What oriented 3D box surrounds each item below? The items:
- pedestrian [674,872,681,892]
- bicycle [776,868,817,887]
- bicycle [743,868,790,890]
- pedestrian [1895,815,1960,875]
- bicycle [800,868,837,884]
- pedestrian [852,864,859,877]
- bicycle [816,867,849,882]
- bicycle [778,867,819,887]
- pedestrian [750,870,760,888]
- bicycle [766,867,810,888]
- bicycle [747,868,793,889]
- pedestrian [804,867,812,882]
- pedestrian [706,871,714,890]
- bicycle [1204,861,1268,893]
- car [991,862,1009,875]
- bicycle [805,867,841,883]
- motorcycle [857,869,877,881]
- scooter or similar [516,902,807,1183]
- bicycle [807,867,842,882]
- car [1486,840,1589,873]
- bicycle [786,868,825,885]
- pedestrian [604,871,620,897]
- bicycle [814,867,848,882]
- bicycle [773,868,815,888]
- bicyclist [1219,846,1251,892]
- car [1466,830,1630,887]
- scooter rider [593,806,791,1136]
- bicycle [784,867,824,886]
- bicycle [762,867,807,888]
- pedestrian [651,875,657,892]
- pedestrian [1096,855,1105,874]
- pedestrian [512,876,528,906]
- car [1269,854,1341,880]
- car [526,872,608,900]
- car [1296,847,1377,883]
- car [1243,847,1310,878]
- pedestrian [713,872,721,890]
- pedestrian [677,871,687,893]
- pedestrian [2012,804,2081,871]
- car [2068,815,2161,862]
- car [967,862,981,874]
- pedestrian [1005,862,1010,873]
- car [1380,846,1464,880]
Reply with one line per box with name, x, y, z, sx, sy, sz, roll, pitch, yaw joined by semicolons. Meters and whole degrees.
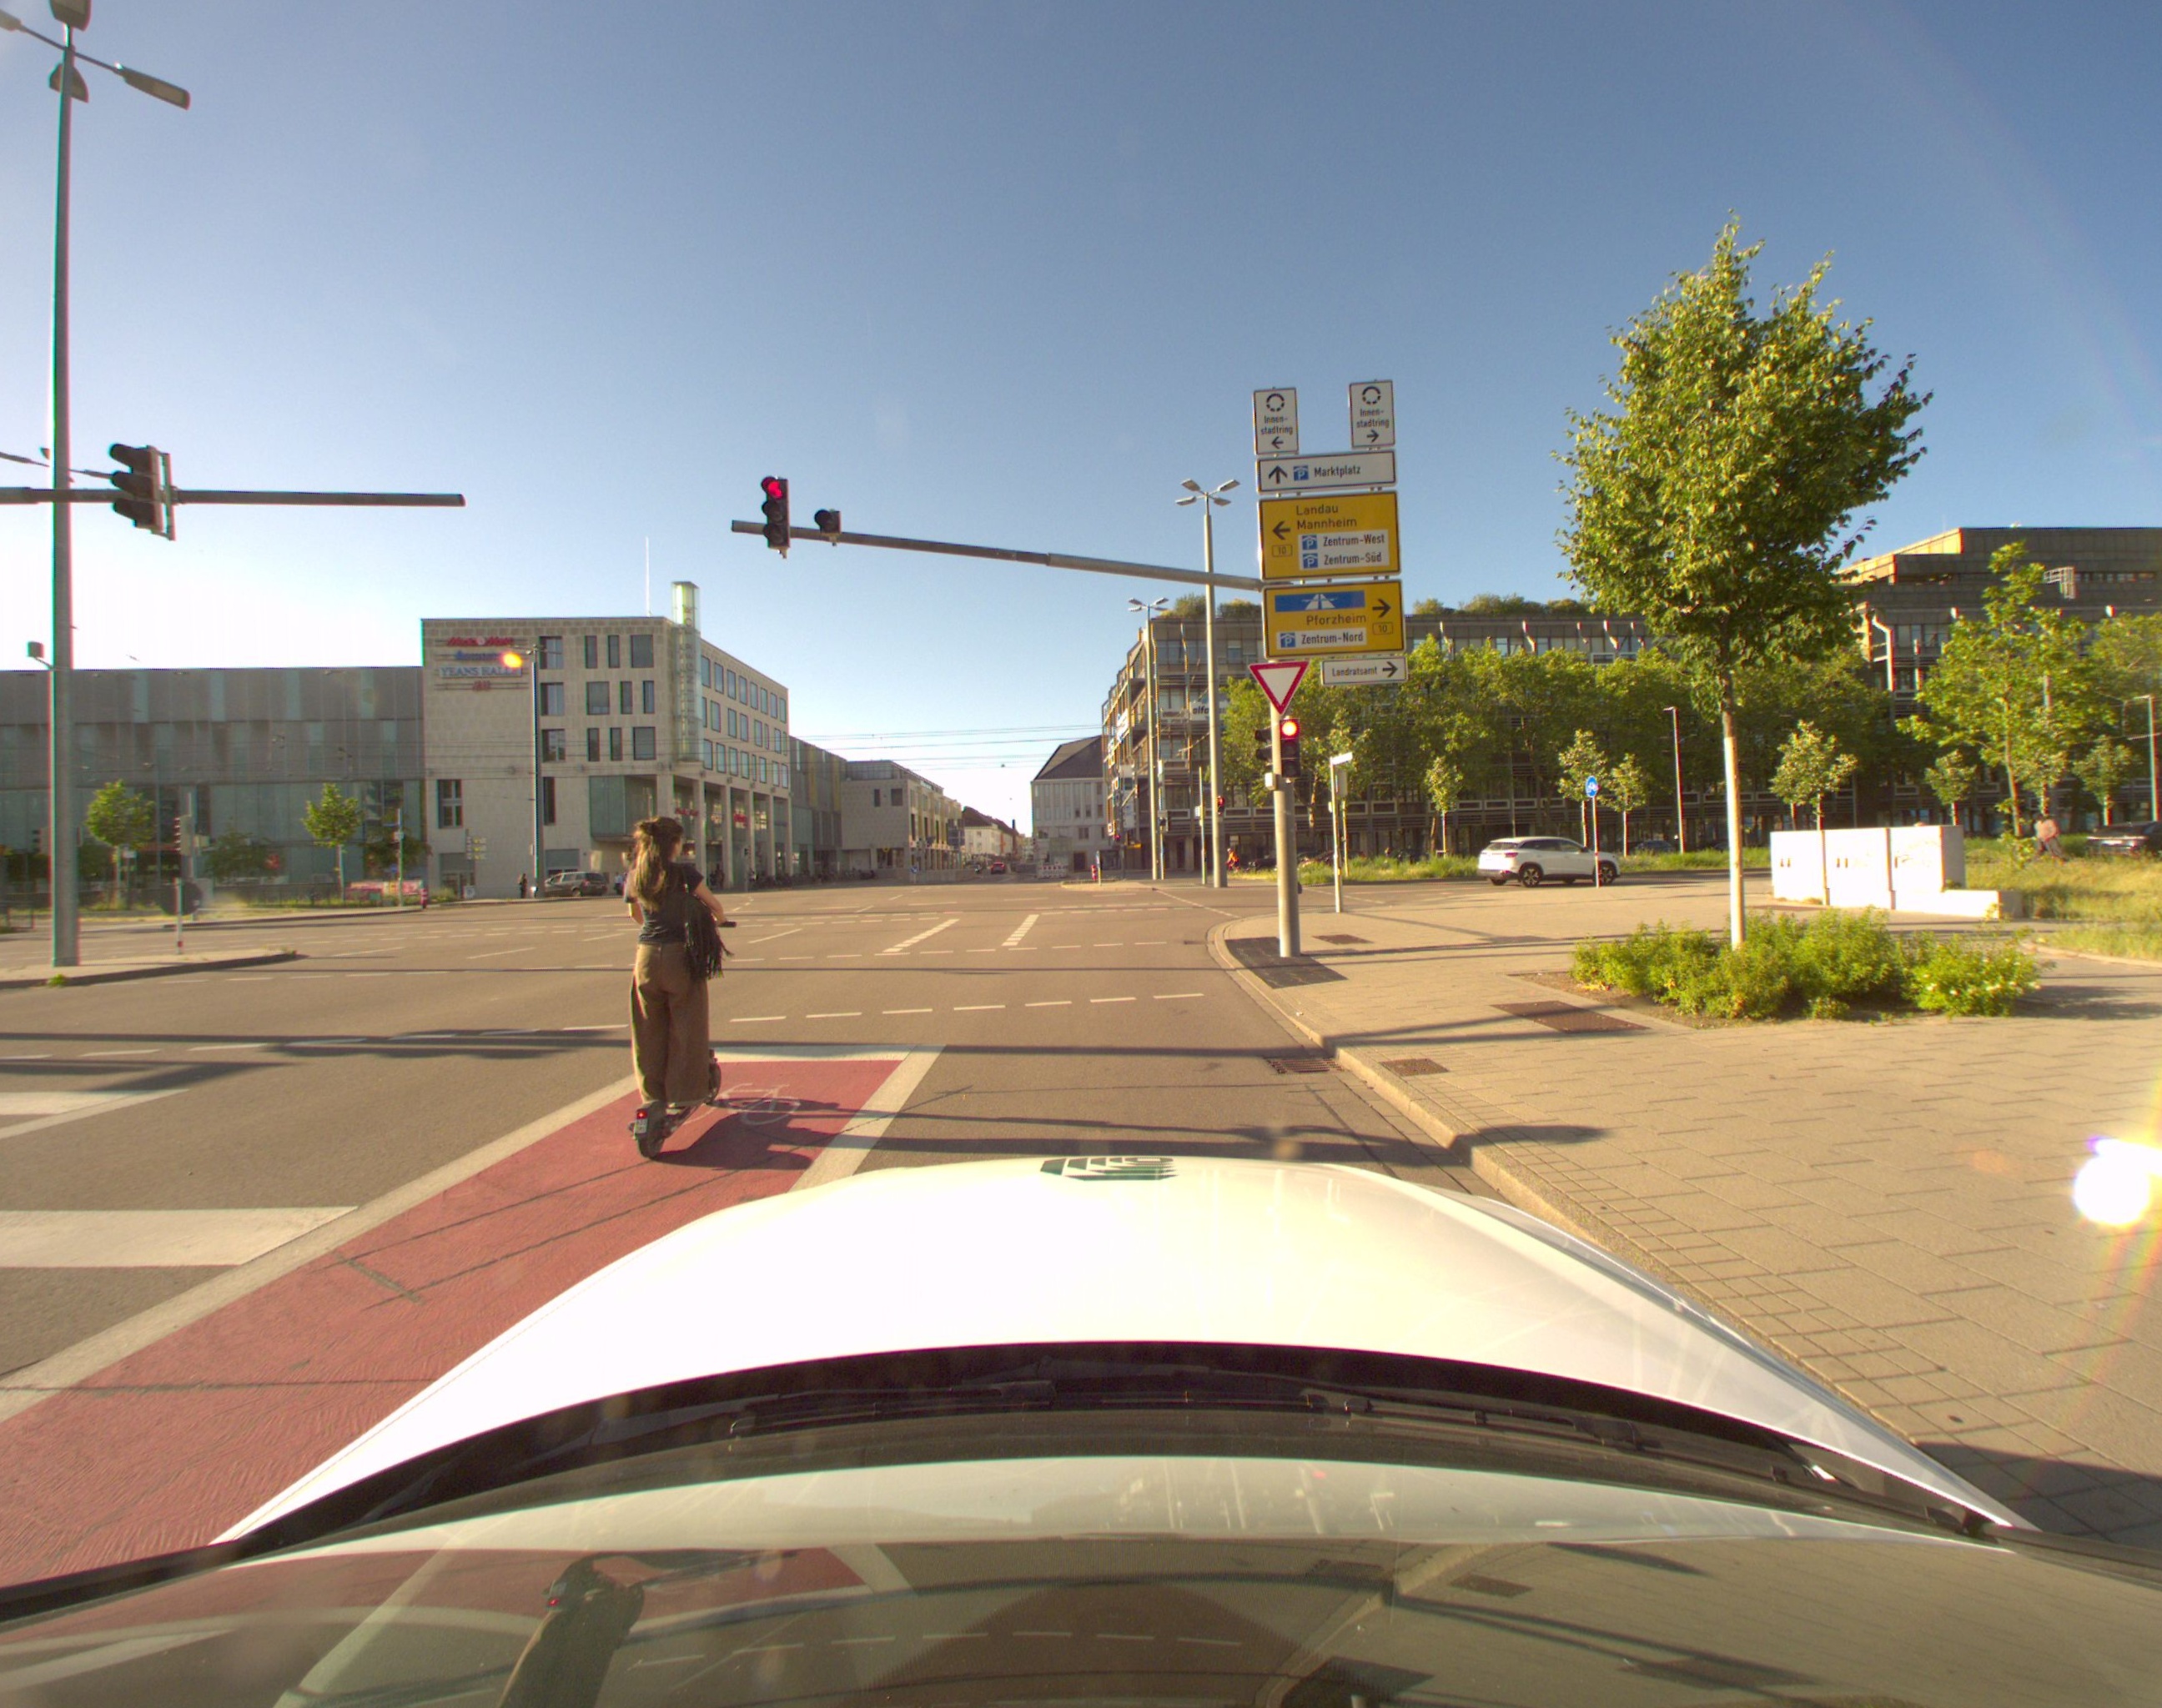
pedestrian;-32.791;2.292;66.164;0.385;1.585;0.367;-2;0;-3
bicycle;-26.857;2.200;76.855;3.491;1.696;0.984;-2;0;-10
bicycle;-26.732;2.097;69.291;3.488;1.696;1.114;-2;0;-7
pedestrian;23.593;-0.242;22.700;0.801;1.630;0.939;-2;0;-12
bicycle;-27.549;2.293;85.578;3.491;1.527;0.984;-2;0;-10
pedestrian;-29.852;2.152;107.697;0.695;1.642;0.694;-2;0;-4
bicycle;-28.290;2.331;92.776;3.491;1.527;0.984;-2;0;-10
bicycle;-27.045;2.212;78.063;3.491;1.696;0.984;-2;0;-10
pedestrian;-30.513;2.309;76.233;0.788;1.642;0.689;-2;0;-27
bicycle;-26.321;2.116;73.172;3.488;1.696;1.114;-2;0;-7
bicycle;-26.911;2.120;70.494;3.488;1.696;1.114;-2;0;-7
pedestrian;-30.033;2.258;89.627;0.652;1.642;0.693;-2;0;-7
pedestrian;-32.379;2.320;71.088;0.480;1.585;0.513;-2;0;-3
bicycle;8.926;1.314;47.063;3.488;1.659;0.929;-2;0;-7
car;-10.791;1.885;108.858;2.195;1.607;4.320;-2;0;-4
bicycle;-27.654;2.213;87.447;3.491;1.527;0.984;-2;0;-10
motorcycle;-25.969;2.538;98.863;2.269;1.318;0.719;-2;0;-4
scooter or similar;-2.242;0.929;4.634;0.725;1.202;1.665;-1;0;2
bicycle;-27.923;2.214;88.576;3.491;1.527;0.984;-2;0;-10
car;28.893;0.143;51.650;5.424;2.014;2.097;0;-1;-1
bicycle;-27.410;2.228;81.157;3.491;1.527;0.984;-2;0;-10
pedestrian;-34.205;2.193;59.448;0.757;1.798;0.734;-2;0;-10
bicycle;-28.173;2.293;91.746;3.491;1.527;0.984;-2;0;-10
bicycle;-26.681;2.181;75.758;3.491;1.696;0.984;-2;0;-10
bicyclist;8.885;0.854;47.067;1.566;2.580;0.929;-2;0;-7
car;15.206;0.111;26.632;4.390;1.660;1.994;-2;1;-9
scooter rider;-2.254;0.635;4.819;0.726;1.775;0.811;-1;0;1
bicycle;-27.249;2.235;80.160;3.491;1.696;0.984;-2;0;-10
bicycle;-26.144;2.071;71.952;3.488;1.696;1.114;-2;0;-7
pedestrian;-35.401;2.415;67.470;0.388;1.412;0.434;-2;0;-27
pedestrian;1.695;0.897;69.676;0.661;1.658;0.755;-2;0;-1
pedestrian;-32.576;2.149;47.288;0.525;1.694;0.546;-2;0;-8
car;13.851;0.781;50.471;3.976;1.508;1.867;-1;0;-2
car;-31.564;1.927;50.040;4.427;1.607;2.011;0;0;22
car;14.452;0.618;46.205;3.975;2.014;1.999;0;-1;-1
car;12.839;0.559;53.620;3.975;2.014;1.999;0;-1;-1
pedestrian;-32.050;2.386;71.668;0.480;1.510;0.513;-2;0;-3
pedestrian;-30.404;2.152;62.036;0.540;1.642;0.548;-2;0;-9
pedestrian;25.636;-0.433;21.638;0.694;1.728;0.939;-2;0;-12
car;39.993;-0.626;30.077;4.926;1.601;1.998;-2;2;-3
car;-17.291;2.304;131.192;1.752;1.783;3.997;-2;0;-2
pedestrian;-9.764;1.754;108.848;0.608;1.411;0.569;-2;0;-5
car;21.405;0.560;51.243;4.435;2.014;1.998;0;-1;-4
